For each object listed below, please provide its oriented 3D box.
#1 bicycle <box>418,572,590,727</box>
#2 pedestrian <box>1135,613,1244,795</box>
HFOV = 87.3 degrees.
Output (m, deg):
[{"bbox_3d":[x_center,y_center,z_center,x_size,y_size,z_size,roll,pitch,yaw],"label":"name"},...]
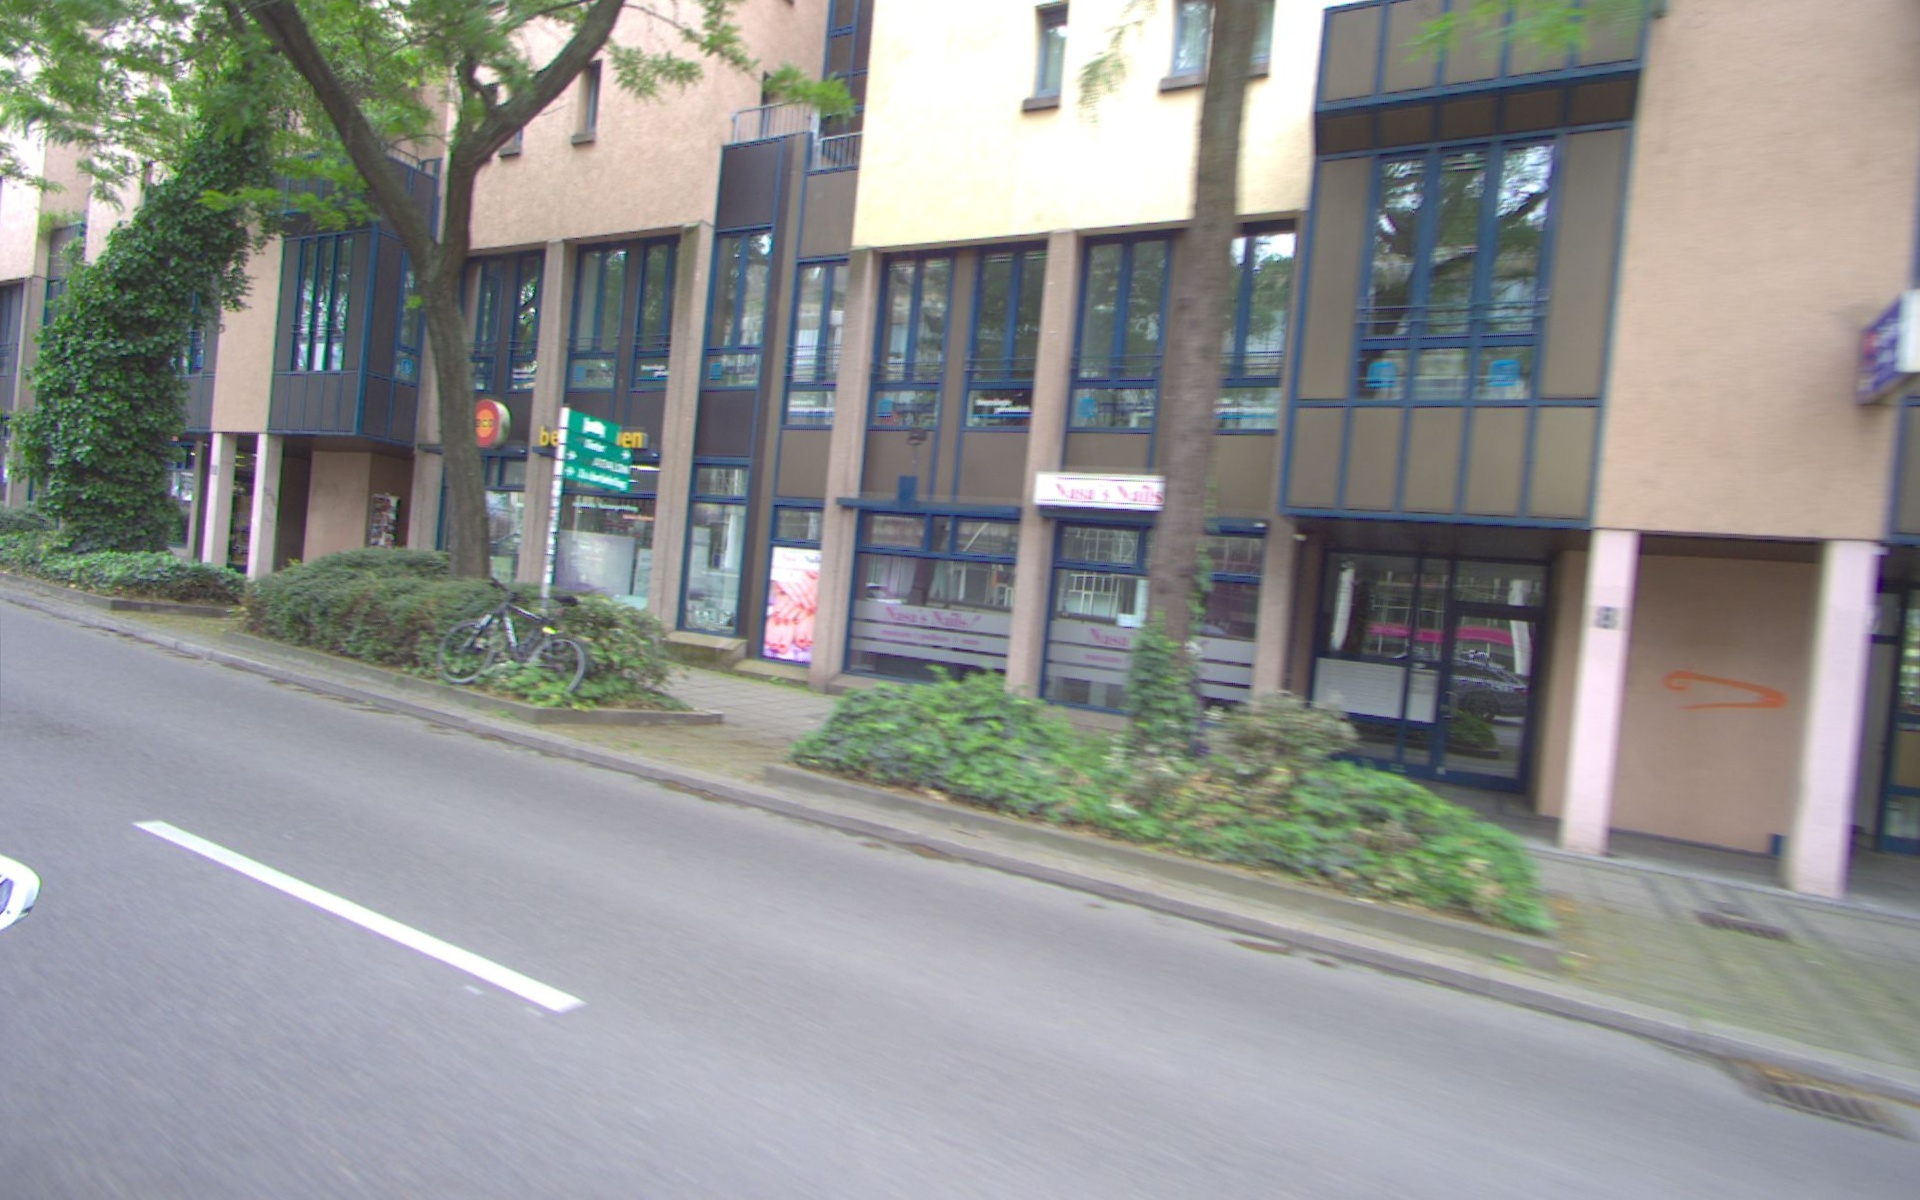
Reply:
[{"bbox_3d":[-4.240,0.436,9.329,1.541,1.217,0.362,7,2,20],"label":"bicycle"},{"bbox_3d":[2.383,1.061,10.427,0.677,1.733,0.709,8,2,35],"label":"pedestrian"}]
